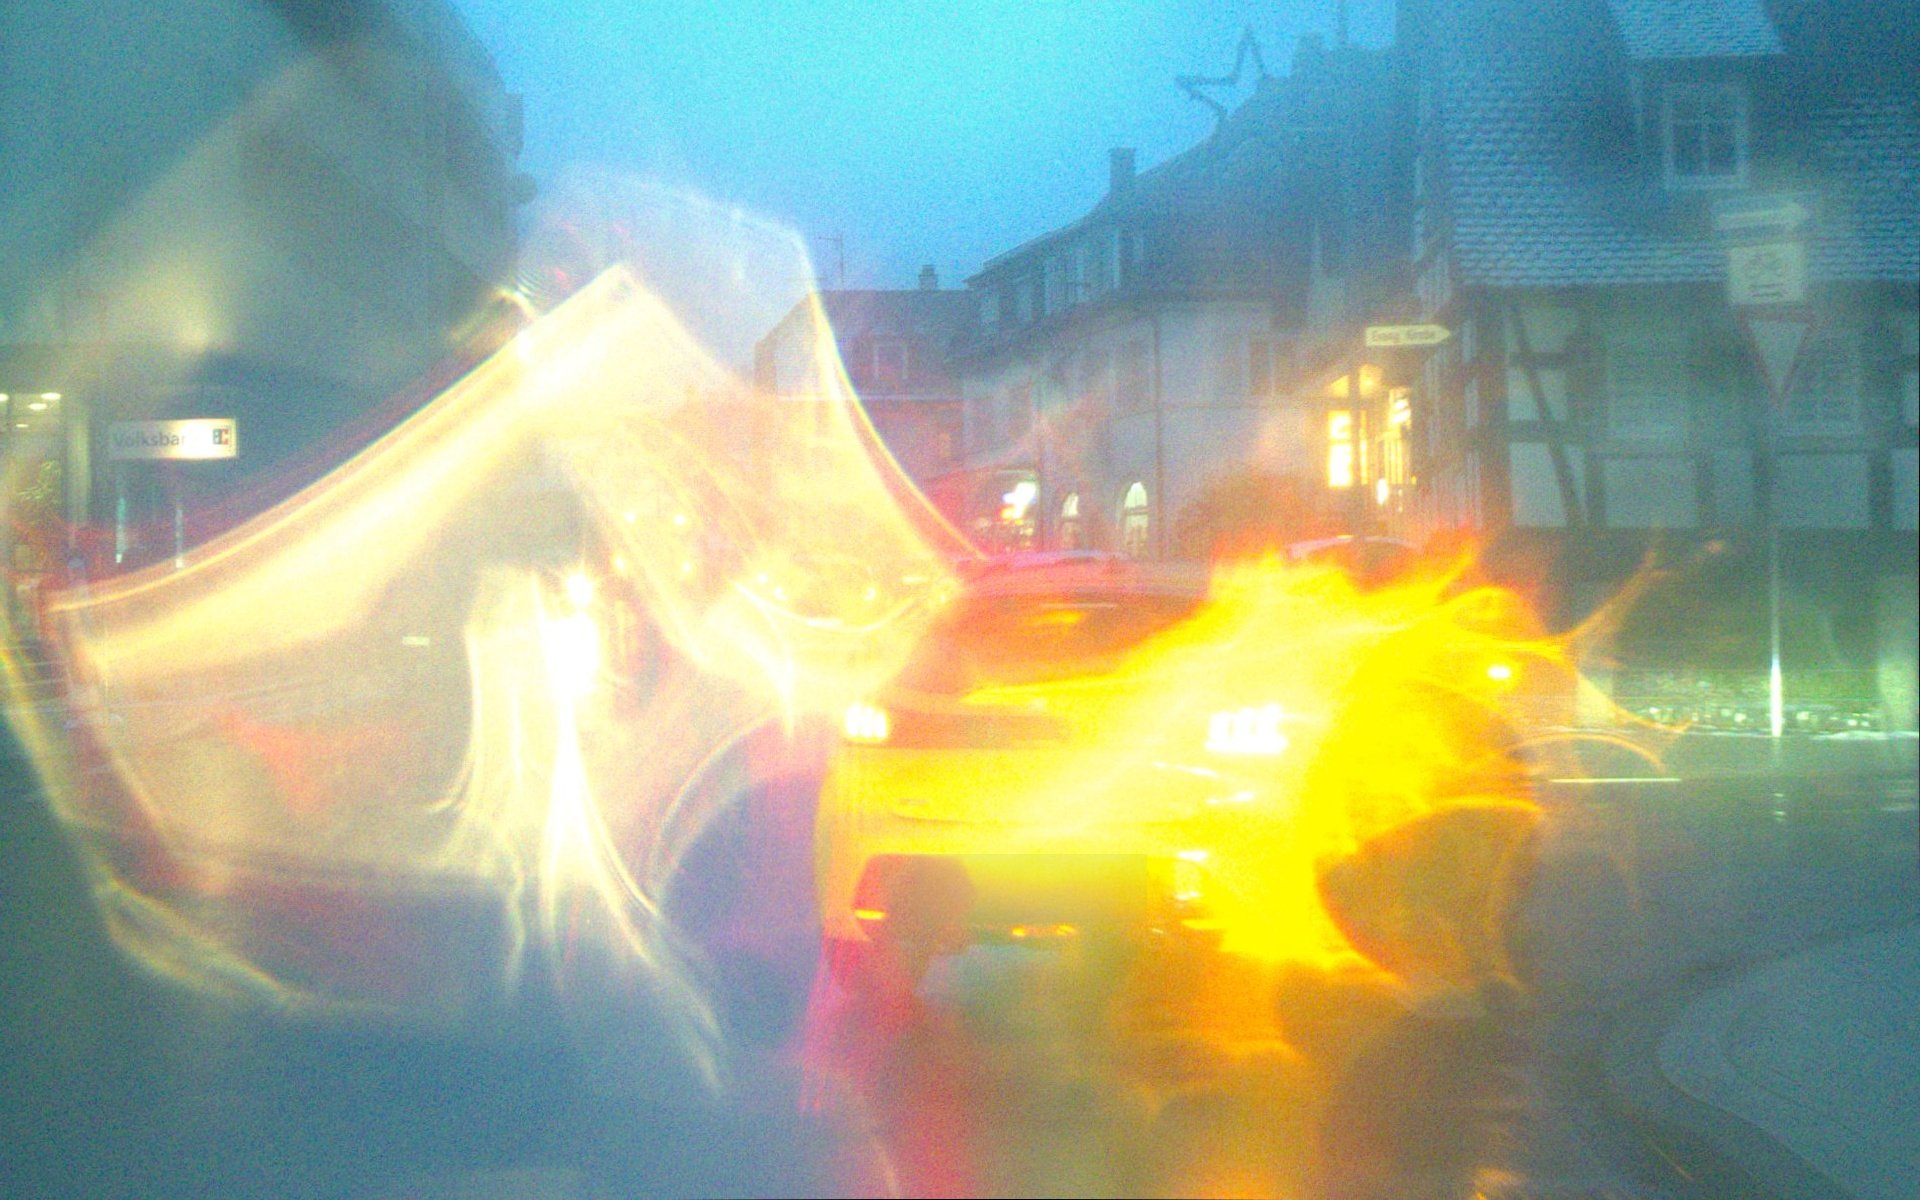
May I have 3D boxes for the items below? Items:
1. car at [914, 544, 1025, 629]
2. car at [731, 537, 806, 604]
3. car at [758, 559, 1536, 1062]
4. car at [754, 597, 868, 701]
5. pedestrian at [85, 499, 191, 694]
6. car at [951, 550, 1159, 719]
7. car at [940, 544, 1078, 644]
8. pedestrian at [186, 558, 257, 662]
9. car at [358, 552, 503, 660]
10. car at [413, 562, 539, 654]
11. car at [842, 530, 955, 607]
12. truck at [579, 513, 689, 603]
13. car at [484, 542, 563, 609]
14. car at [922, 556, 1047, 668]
[{"bbox_3d":[0.141,-0.272,65.041,1.794,1.455,4.531,-3,1,-3],"label":"car"},{"bbox_3d":[-4.302,-0.677,77.461,1.638,1.476,3.271,1,1,-3],"label":"car"},{"bbox_3d":[0.820,0.588,12.039,1.772,1.442,3.724,1,1,19],"label":"car"},{"bbox_3d":[-2.199,0.704,51.356,1.638,1.476,3.379,0,0,-2],"label":"car"},{"bbox_3d":[-8.373,-0.046,34.979,0.973,1.931,1.203,-1,1,-15],"label":"pedestrian"},{"bbox_3d":[0.863,0.292,33.434,1.732,1.454,4.000,-3,1,-1],"label":"car"},{"bbox_3d":[0.727,-0.109,54.164,1.823,1.418,4.609,-3,1,-3],"label":"car"},{"bbox_3d":[-9.401,0.117,43.755,0.755,1.306,0.828,1,0,-3],"label":"pedestrian"},{"bbox_3d":[-7.902,0.065,51.554,1.615,1.527,3.928,1,1,-1],"label":"car"},{"bbox_3d":[-8.044,0.103,57.402,1.675,1.441,4.429,1,1,-3],"label":"car"},{"bbox_3d":[-1.355,-0.702,73.740,1.882,1.541,4.672,-2,1,-7],"label":"car"},{"bbox_3d":[-11.769,-1.512,123.439,3.014,3.118,8.002,0,1,-12],"label":"truck"},{"bbox_3d":[-11.058,-0.640,86.939,1.794,1.637,3.813,1,1,-10],"label":"car"},{"bbox_3d":[0.342,0.136,48.548,1.626,1.436,3.800,-3,1,0],"label":"car"}]
